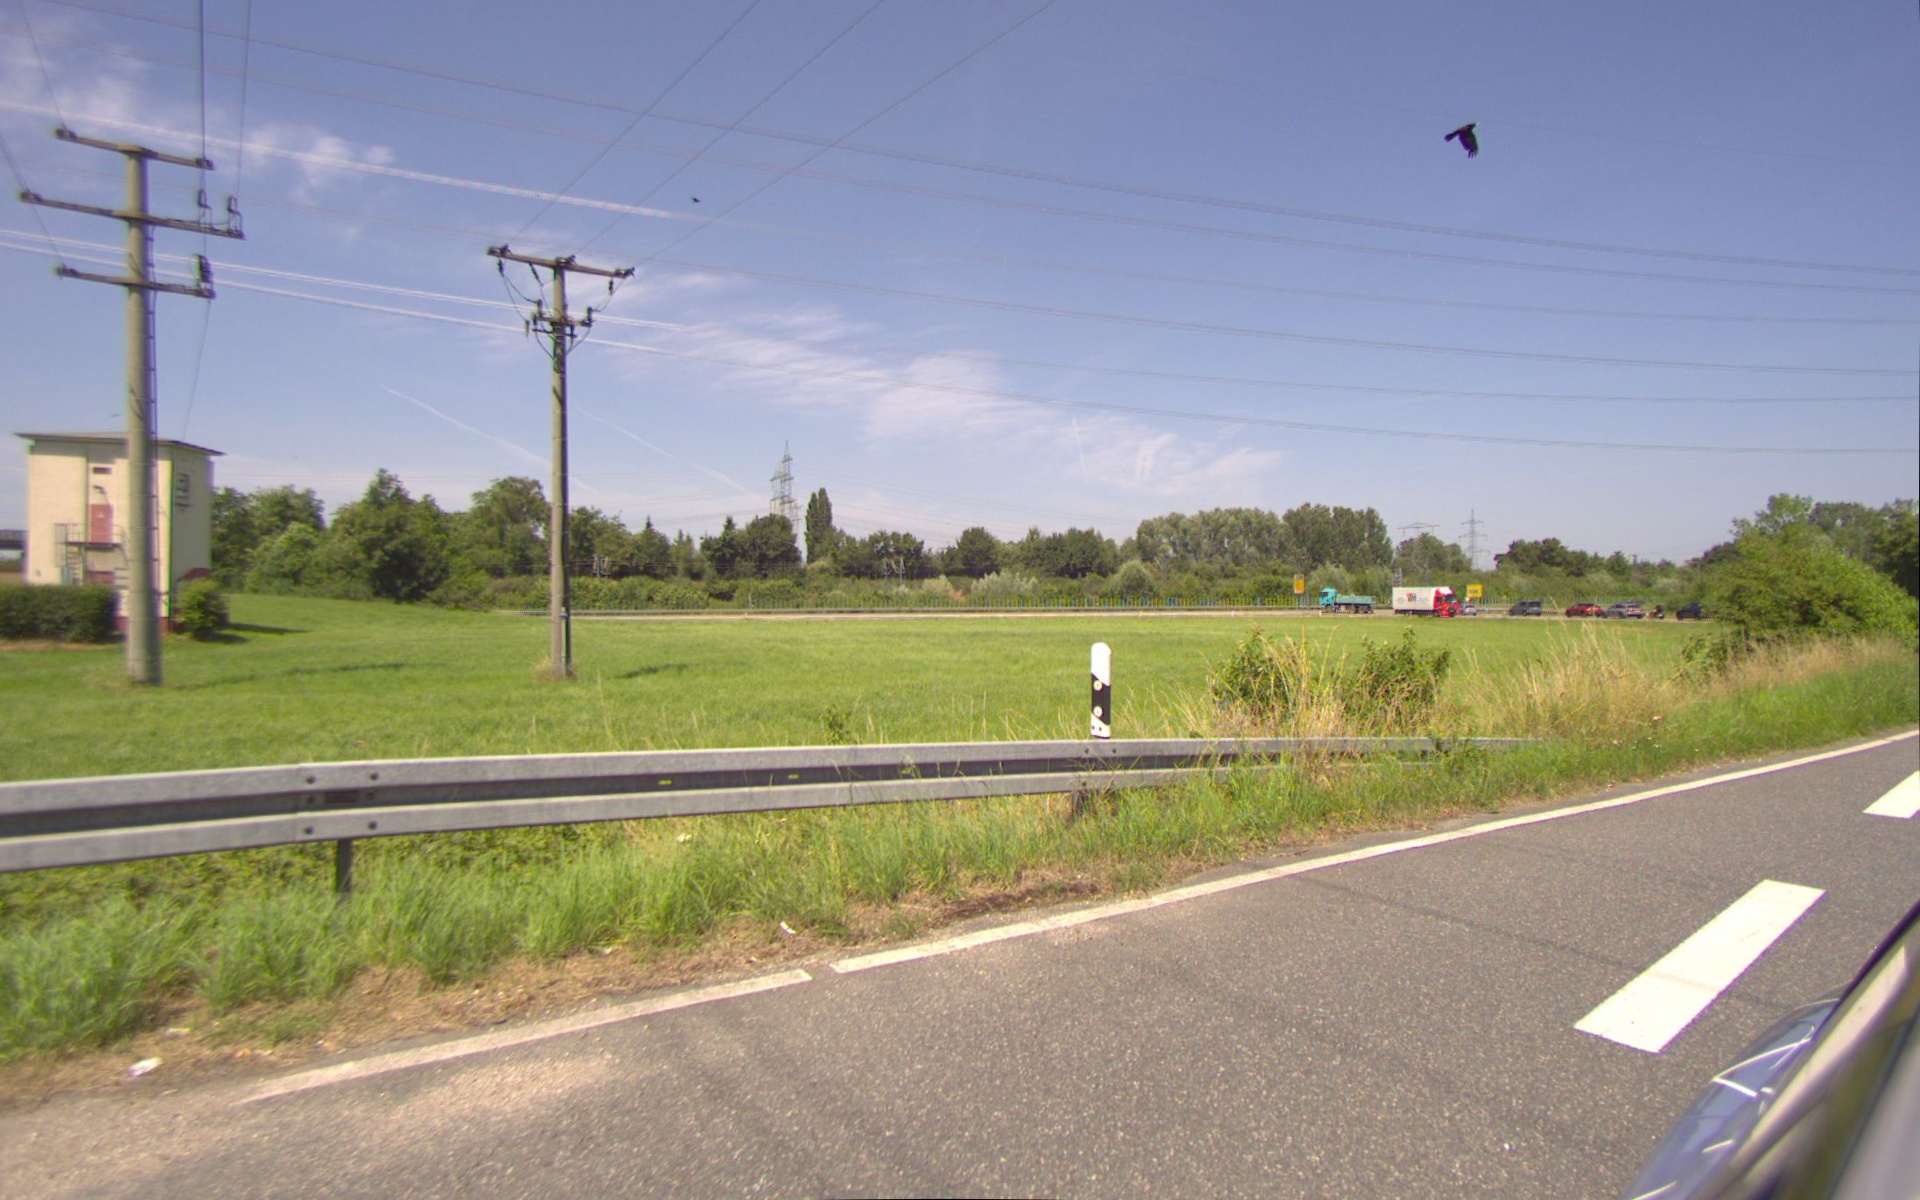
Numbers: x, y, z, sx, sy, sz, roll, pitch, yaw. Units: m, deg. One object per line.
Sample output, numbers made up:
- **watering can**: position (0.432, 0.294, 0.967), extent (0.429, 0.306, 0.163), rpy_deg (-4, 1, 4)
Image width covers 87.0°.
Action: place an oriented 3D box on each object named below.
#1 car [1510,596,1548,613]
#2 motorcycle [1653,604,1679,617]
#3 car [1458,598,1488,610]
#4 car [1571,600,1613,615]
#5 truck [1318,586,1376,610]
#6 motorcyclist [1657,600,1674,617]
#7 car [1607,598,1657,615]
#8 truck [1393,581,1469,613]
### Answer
- **car**: position (65.940, 0.548, 117.285), extent (1.896, 1.855, 4.437), rpy_deg (-1, 0, 1)
- **motorcycle**: position (65.924, 0.991, 94.580), extent (0.770, 1.137, 2.428), rpy_deg (-2, 0, 3)
- **car**: position (65.674, 0.520, 129.626), extent (1.606, 1.478, 4.009), rpy_deg (-1, 0, -2)
- **car**: position (66.401, 0.765, 106.392), extent (1.772, 1.534, 4.388), rpy_deg (0, 1, 3)
- **truck**: position (56.200, -0.259, 146.983), extent (7.544, 3.516, 2.583), rpy_deg (0, -1, 30)
- **motorcyclist**: position (65.897, 0.797, 94.556), extent (0.769, 1.514, 1.130), rpy_deg (-1, 0, 3)
- **car**: position (65.865, 0.625, 99.318), extent (1.813, 1.478, 4.805), rpy_deg (-1, 1, 3)
- **truck**: position (56.981, -0.405, 122.732), extent (2.669, 3.624, 9.574), rpy_deg (-2, 1, -15)
